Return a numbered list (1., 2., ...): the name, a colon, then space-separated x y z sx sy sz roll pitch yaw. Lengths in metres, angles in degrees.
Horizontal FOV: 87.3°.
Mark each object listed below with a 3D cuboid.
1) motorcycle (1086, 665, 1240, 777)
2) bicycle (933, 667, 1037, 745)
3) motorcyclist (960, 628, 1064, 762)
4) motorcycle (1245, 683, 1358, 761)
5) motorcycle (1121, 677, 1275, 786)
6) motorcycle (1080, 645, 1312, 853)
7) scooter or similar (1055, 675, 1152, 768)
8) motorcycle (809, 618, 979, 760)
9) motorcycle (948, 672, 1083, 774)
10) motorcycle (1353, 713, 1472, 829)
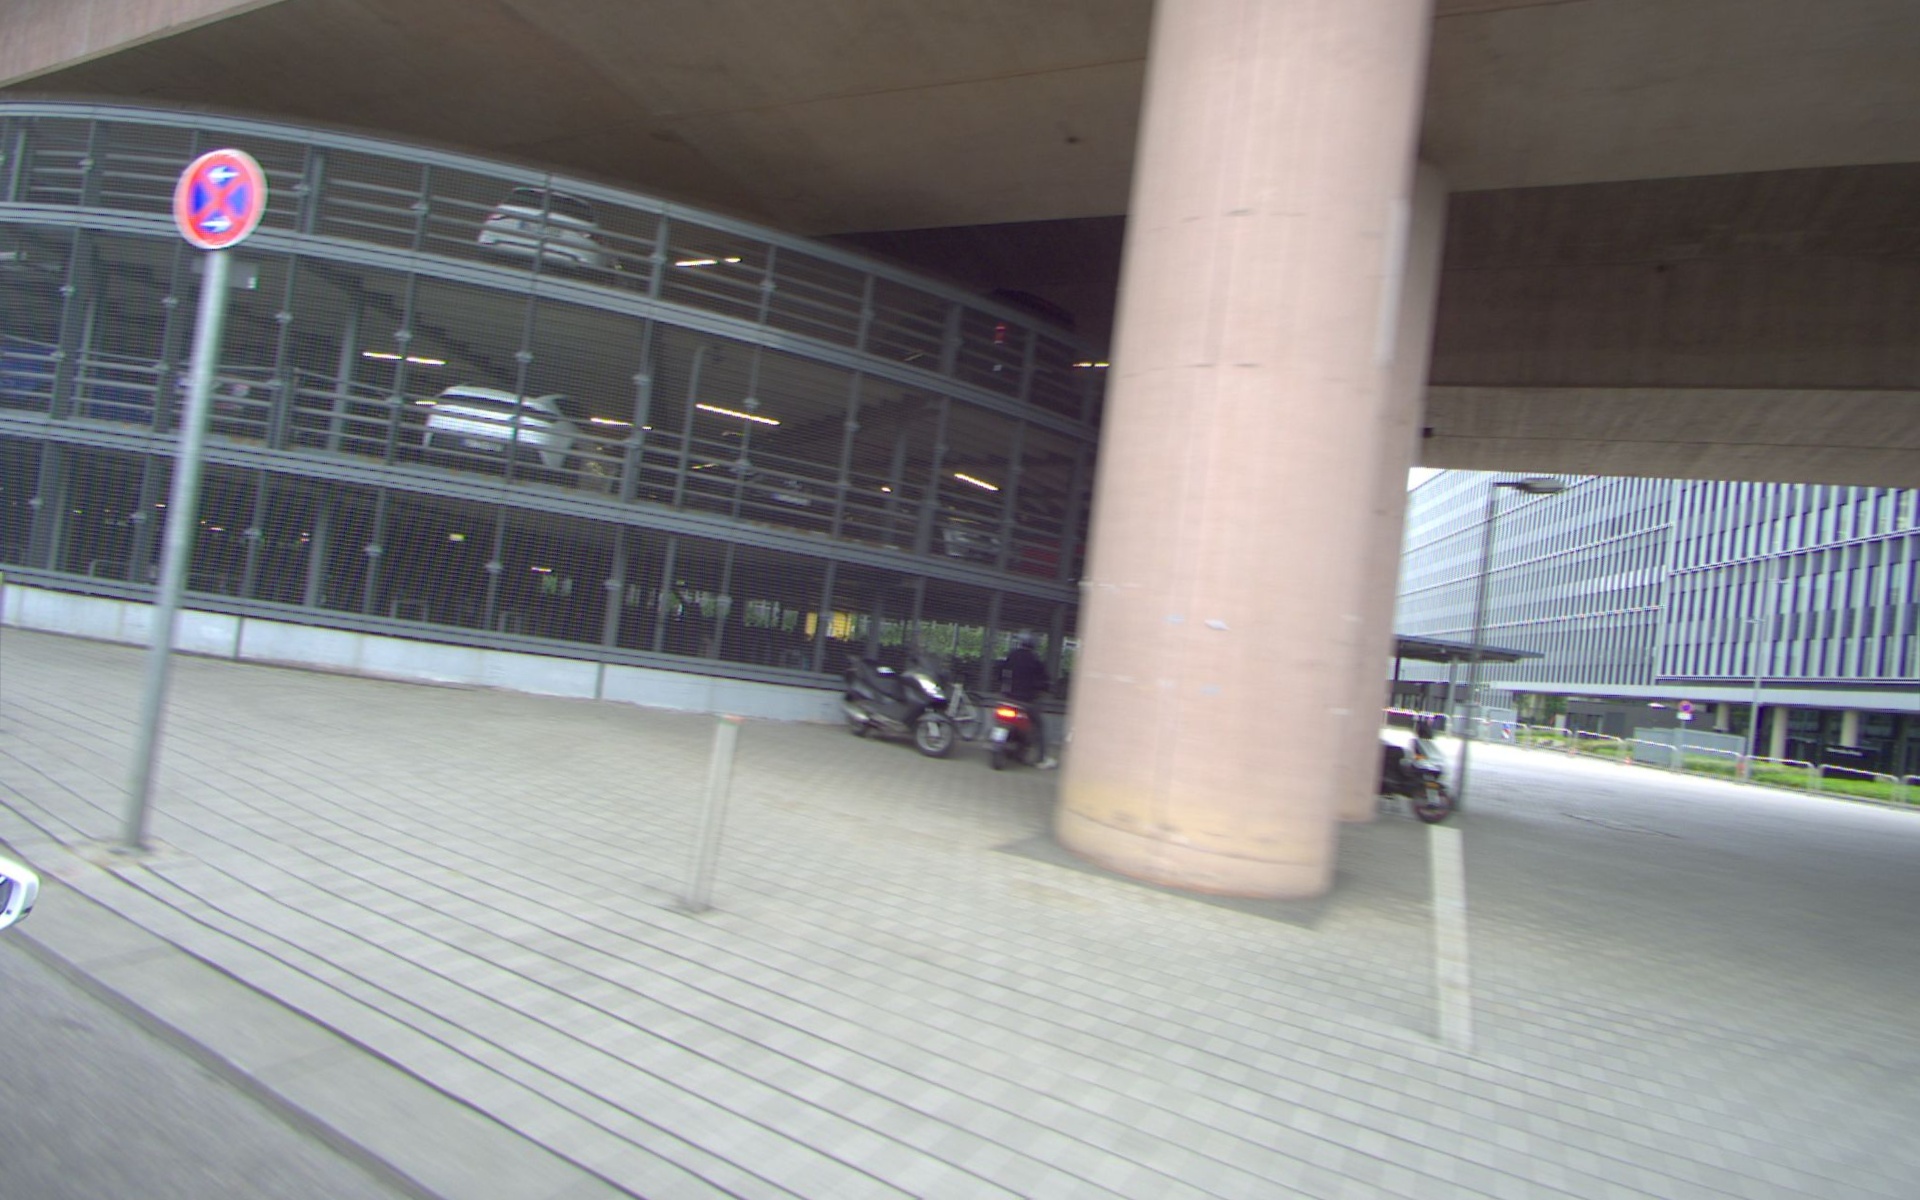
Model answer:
1. motorcycle: 2.986 1.765 14.964 2.095 1.326 0.605 6 -2 42
2. bicycle: 0.381 1.585 14.953 1.465 0.987 0.447 9 -1 -36
3. motorcyclist: 0.628 1.120 11.970 0.751 1.436 0.869 8 0 29
4. motorcycle: 7.317 2.596 21.583 2.043 1.301 0.673 8 0 29
5. motorcycle: 3.644 1.991 15.498 2.094 1.318 0.607 7 -1 32
6. motorcycle: 2.051 1.266 8.855 1.729 1.472 0.644 8 0 13
7. scooter or similar: 2.095 1.767 14.776 1.232 1.147 0.399 8 0 40
8. motorcycle: -0.858 1.068 12.432 2.140 1.436 0.628 6 -2 42
9. motorcycle: 0.720 1.477 12.232 0.736 1.034 1.955 8 -1 29
10. motorcycle: 5.419 2.029 12.100 0.516 1.183 1.144 8 -3 -25
